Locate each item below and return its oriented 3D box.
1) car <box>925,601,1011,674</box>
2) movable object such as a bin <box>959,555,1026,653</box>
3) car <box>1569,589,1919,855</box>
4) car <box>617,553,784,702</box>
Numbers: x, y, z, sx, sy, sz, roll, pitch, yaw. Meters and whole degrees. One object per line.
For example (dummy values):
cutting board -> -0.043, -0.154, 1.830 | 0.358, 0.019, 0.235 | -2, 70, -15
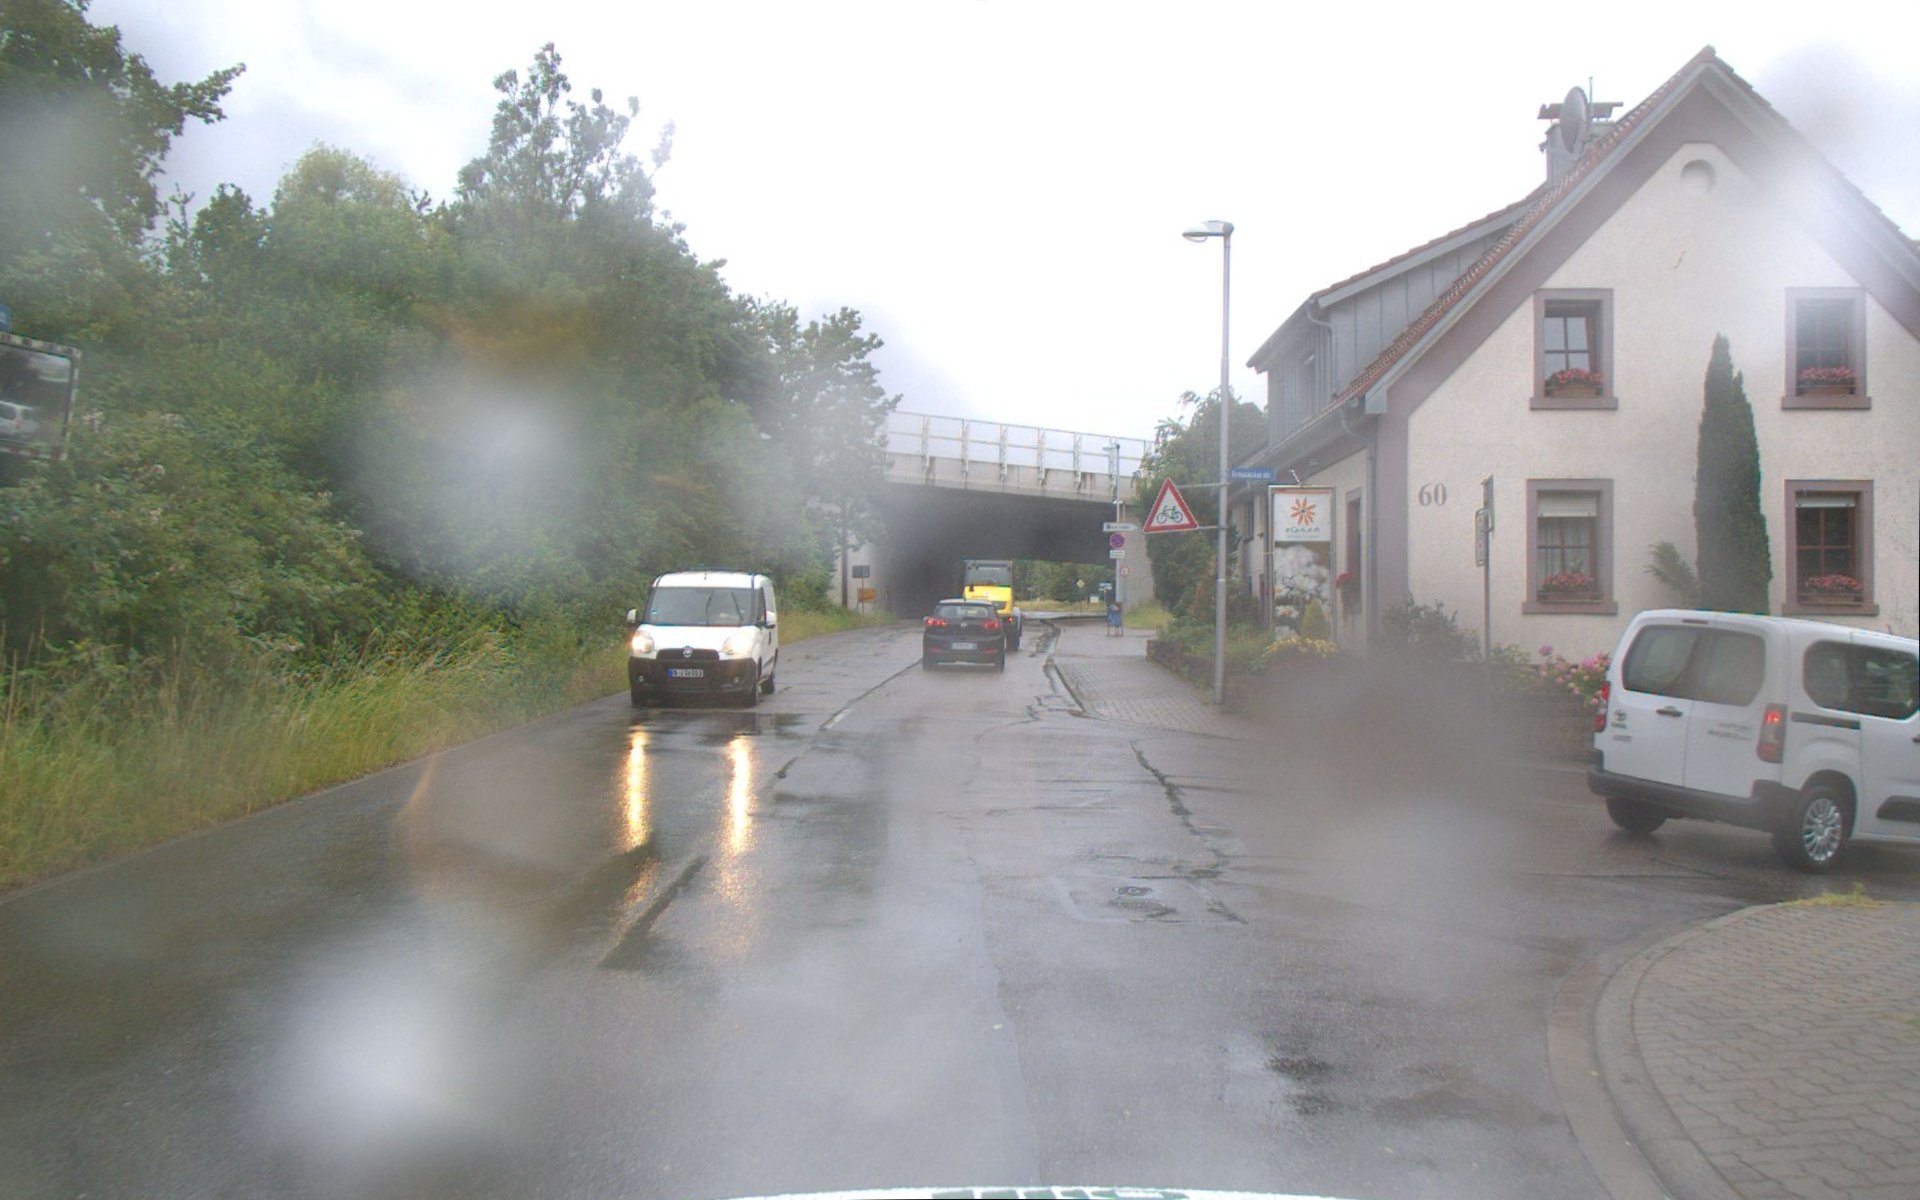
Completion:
car -> 0.220, 0.757, 35.289 | 1.673, 1.401, 4.001 | 2, 0, 2
movable object such as a bin -> 0.952, 0.119, 47.183 | 1.725, 2.592, 4.240 | 2, 0, 2
car -> 7.025, 0.839, 13.309 | 3.942, 1.838, 1.885 | 0, 1, -29
car -> -3.572, 0.358, 23.448 | 1.787, 1.864, 4.305 | 2, 0, -2
